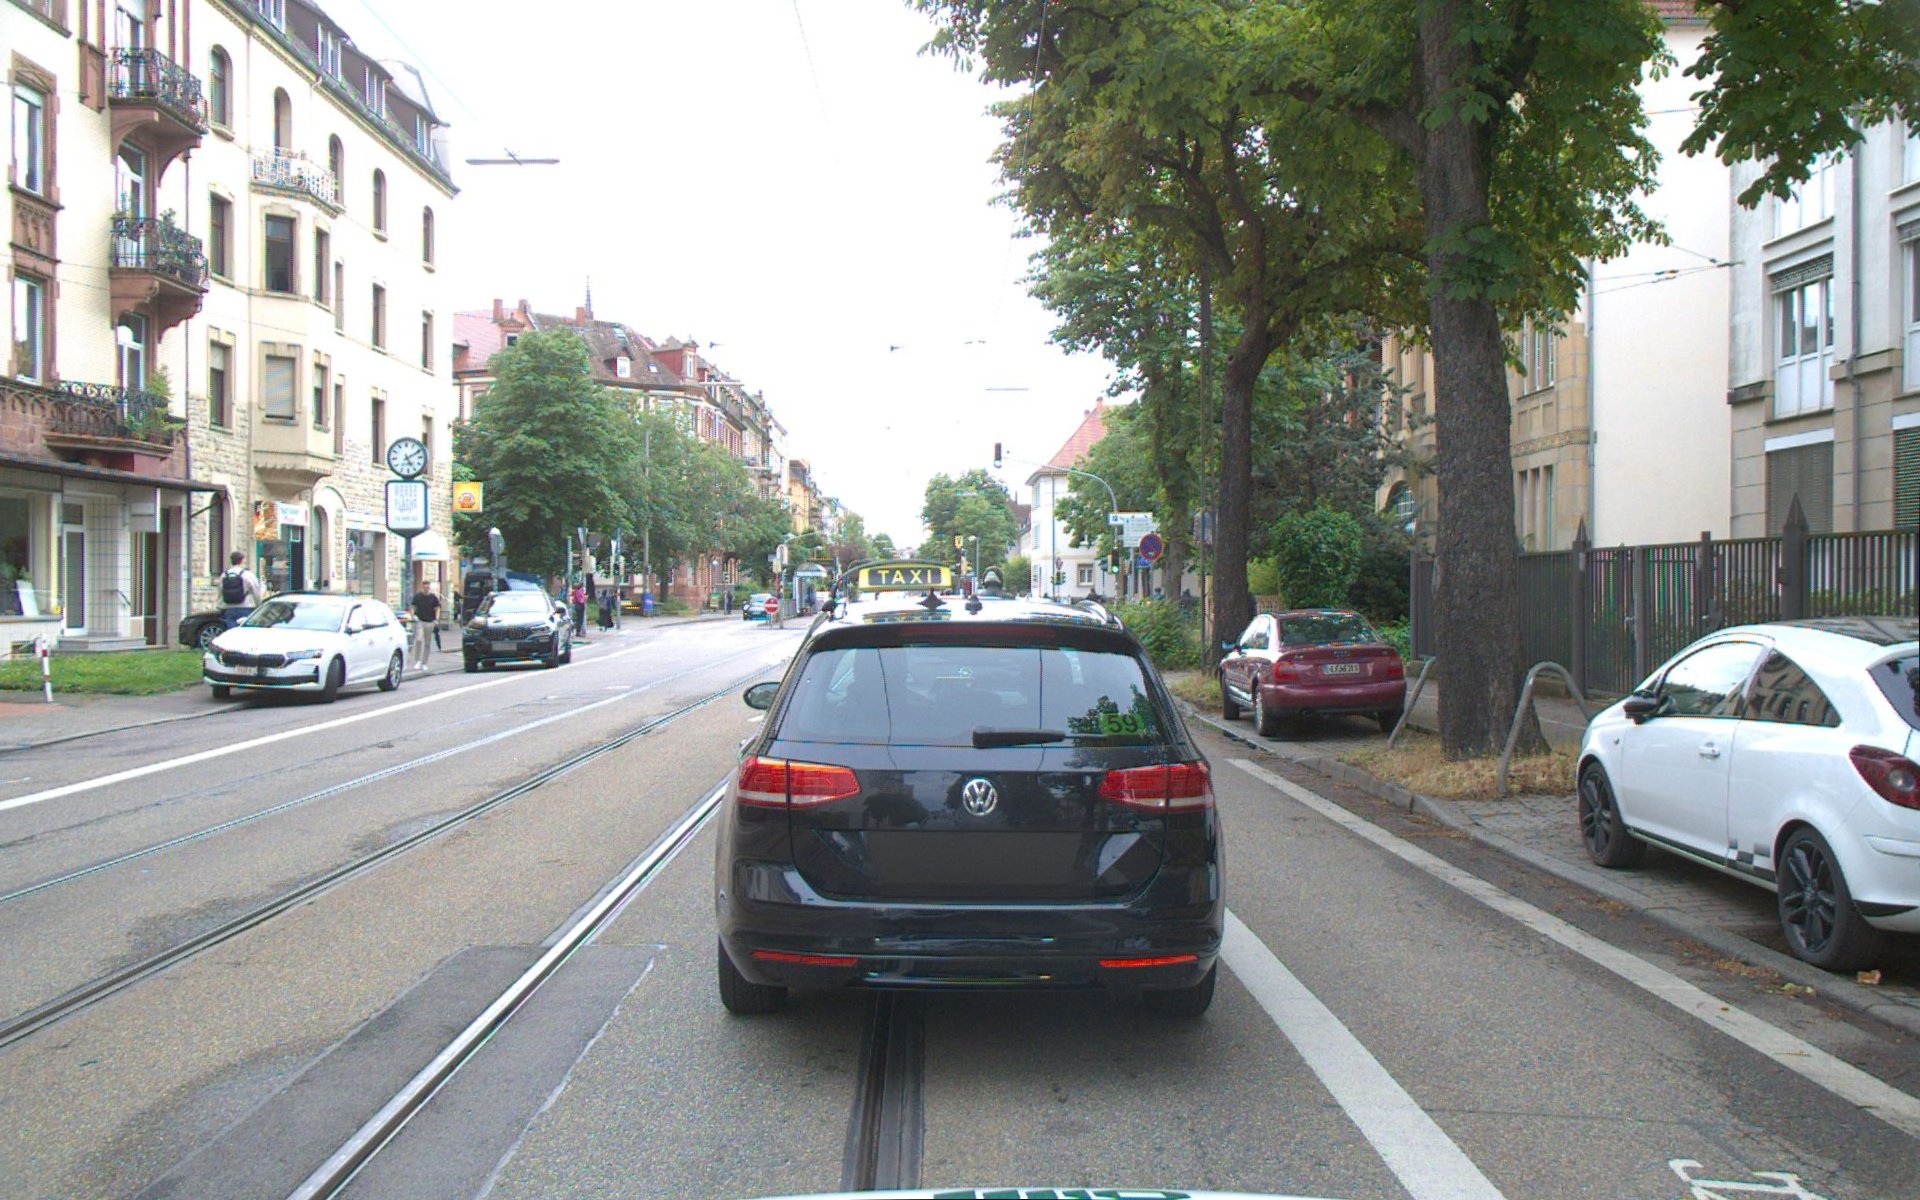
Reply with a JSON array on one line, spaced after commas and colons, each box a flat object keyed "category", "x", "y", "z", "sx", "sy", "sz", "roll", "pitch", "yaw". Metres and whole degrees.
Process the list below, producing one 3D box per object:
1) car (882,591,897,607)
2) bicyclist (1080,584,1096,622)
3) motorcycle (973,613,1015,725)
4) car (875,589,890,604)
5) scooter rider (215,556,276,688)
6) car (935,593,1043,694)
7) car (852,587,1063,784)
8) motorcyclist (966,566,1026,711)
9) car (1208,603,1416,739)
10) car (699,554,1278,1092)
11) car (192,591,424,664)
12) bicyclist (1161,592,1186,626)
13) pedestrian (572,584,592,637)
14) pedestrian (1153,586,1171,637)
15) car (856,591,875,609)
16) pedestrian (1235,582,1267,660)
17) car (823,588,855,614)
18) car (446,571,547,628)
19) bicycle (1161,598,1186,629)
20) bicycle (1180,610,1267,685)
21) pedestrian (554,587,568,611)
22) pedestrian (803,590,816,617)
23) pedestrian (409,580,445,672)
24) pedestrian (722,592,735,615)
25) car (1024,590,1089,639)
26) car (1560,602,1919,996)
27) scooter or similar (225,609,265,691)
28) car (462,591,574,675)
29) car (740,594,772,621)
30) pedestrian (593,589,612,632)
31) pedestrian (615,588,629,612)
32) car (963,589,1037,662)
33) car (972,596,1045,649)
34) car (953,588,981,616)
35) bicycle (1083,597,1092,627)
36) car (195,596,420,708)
[{"category": "car", "x": -9.439, "y": -0.090, "z": 222.919, "sx": 1.953, "sy": 2.049, "sz": 3.998, "roll": 1, "pitch": 0, "yaw": -2}, {"category": "bicyclist", "x": 5.299, "y": 0.120, "z": 68.346, "sx": 0.637, "sy": 1.596, "sz": 0.696, "roll": 0, "pitch": 0, "yaw": 6}, {"category": "motorcycle", "x": 0.400, "y": 0.803, "z": 19.952, "sx": 0.437, "sy": 1.257, "sz": 1.906, "roll": 0, "pitch": 0, "yaw": -1}, {"category": "car", "x": -8.842, "y": -0.436, "z": 188.833, "sx": 1.686, "sy": 1.651, "sz": 3.862, "roll": 0, "pitch": 0, "yaw": -1}, {"category": "scooter rider", "x": -11.236, "y": 0.344, "z": 26.035, "sx": 0.629, "sy": 2.049, "sz": 0.757, "roll": 0, "pitch": 0, "yaw": -1}, {"category": "car", "x": 0.428, "y": 0.669, "z": 27.986, "sx": 1.688, "sy": 1.573, "sz": 3.999, "roll": 0, "pitch": 0, "yaw": -1}, {"category": "car", "x": -0.044, "y": 0.676, "z": 15.280, "sx": 1.688, "sy": 1.573, "sz": 3.999, "roll": 0, "pitch": 0, "yaw": -1}, {"category": "motorcyclist", "x": 0.427, "y": 0.456, "z": 20.044, "sx": 0.688, "sy": 1.722, "sz": 0.804, "roll": 0, "pitch": 0, "yaw": -1}, {"category": "car", "x": 4.219, "y": 0.789, "z": 20.439, "sx": 1.569, "sy": 1.423, "sz": 4.226, "roll": -2, "pitch": 0, "yaw": -1}, {"category": "car", "x": 0.060, "y": 0.644, "z": 6.851, "sx": 1.688, "sy": 1.573, "sz": 3.999, "roll": 0, "pitch": 0, "yaw": -1}, {"category": "car", "x": -14.312, "y": 0.584, "z": 36.490, "sx": 4.340, "sy": 1.394, "sz": 1.878, "roll": 2, "pitch": 0, "yaw": -6}, {"category": "bicyclist", "x": 8.292, "y": 0.338, "z": 64.281, "sx": 0.689, "sy": 1.324, "sz": 0.644, "roll": 0, "pitch": 0, "yaw": -40}, {"category": "pedestrian", "x": -13.231, "y": 0.365, "z": 57.894, "sx": 0.610, "sy": 1.875, "sz": 0.609, "roll": 0, "pitch": 0, "yaw": -3}, {"category": "pedestrian", "x": 7.460, "y": 0.429, "z": 60.977, "sx": 0.503, "sy": 1.863, "sz": 0.418, "roll": -3, "pitch": 0, "yaw": 15}, {"category": "car", "x": -9.150, "y": -0.028, "z": 160.448, "sx": 1.686, "sy": 1.651, "sz": 3.862, "roll": 0, "pitch": 0, "yaw": -1}, {"category": "pedestrian", "x": 6.990, "y": 0.504, "z": 39.769, "sx": 0.619, "sy": 1.846, "sz": 0.726, "roll": 0, "pitch": 0, "yaw": -3}, {"category": "car", "x": -8.869, "y": 0.073, "z": 121.421, "sx": 1.952, "sy": 1.822, "sz": 4.000, "roll": 1, "pitch": 0, "yaw": 1}, {"category": "car", "x": -20.500, "y": -0.029, "z": 73.055, "sx": 2.168, "sy": 2.460, "sz": 5.295, "roll": 0, "pitch": 0, "yaw": -43}, {"category": "bicycle", "x": 8.287, "y": 0.523, "z": 64.261, "sx": 1.145, "sy": 1.217, "sz": 0.250, "roll": -1, "pitch": 0, "yaw": -39}, {"category": "bicycle", "x": 4.450, "y": 0.788, "z": 27.841, "sx": 0.426, "sy": 1.219, "sz": 1.891, "roll": 0, "pitch": -1, "yaw": 44}, {"category": "pedestrian", "x": -25.787, "y": -0.087, "z": 106.834, "sx": 0.577, "sy": 1.547, "sz": 0.647, "roll": 0, "pitch": 0, "yaw": 35}, {"category": "pedestrian", "x": -8.619, "y": 0.193, "z": 94.734, "sx": 0.699, "sy": 1.547, "sz": 0.590, "roll": 0, "pitch": 0, "yaw": 1}, {"category": "pedestrian", "x": -11.127, "y": 0.530, "z": 34.524, "sx": 0.658, "sy": 1.876, "sz": 0.876, "roll": -1, "pitch": 0, "yaw": -22}, {"category": "pedestrian", "x": -15.301, "y": 0.243, "z": 109.239, "sx": 0.577, "sy": 1.547, "sz": 0.647, "roll": 0, "pitch": 0, "yaw": 35}, {"category": "car", "x": 3.289, "y": 0.499, "z": 57.071, "sx": 1.953, "sy": 1.605, "sz": 3.999, "roll": 1, "pitch": 0, "yaw": -1}, {"category": "car", "x": 4.522, "y": 0.783, "z": 8.355, "sx": 1.569, "sy": 1.460, "sz": 3.776, "roll": -2, "pitch": 0, "yaw": 0}, {"category": "scooter or similar", "x": -11.223, "y": 0.770, "z": 25.985, "sx": 0.226, "sy": 1.256, "sz": 0.953, "roll": 0, "pitch": 0, "yaw": -1}, {"category": "car", "x": -9.719, "y": 0.676, "z": 36.712, "sx": 1.848, "sy": 1.640, "sz": 4.876, "roll": -3, "pitch": 0, "yaw": -9}, {"category": "car", "x": -11.573, "y": 0.404, "z": 94.130, "sx": 1.576, "sy": 1.447, "sz": 3.484, "roll": -1, "pitch": 0, "yaw": -4}, {"category": "pedestrian", "x": -14.054, "y": 0.406, "z": 65.037, "sx": 0.577, "sy": 1.692, "sz": 0.838, "roll": 0, "pitch": 0, "yaw": -4}, {"category": "pedestrian", "x": -22.075, "y": -0.020, "z": 108.015, "sx": 0.577, "sy": 1.547, "sz": 0.647, "roll": 0, "pitch": 0, "yaw": 35}, {"category": "car", "x": 0.892, "y": 0.578, "z": 38.551, "sx": 1.574, "sy": 1.583, "sz": 3.577, "roll": 1, "pitch": 0, "yaw": -1}, {"category": "car", "x": 1.446, "y": 0.610, "z": 47.884, "sx": 1.852, "sy": 1.432, "sz": 4.003, "roll": -1, "pitch": 0, "yaw": 5}, {"category": "car", "x": 0.493, "y": 0.152, "z": 121.696, "sx": 1.991, "sy": 2.049, "sz": 3.999, "roll": 1, "pitch": 0, "yaw": -1}, {"category": "bicycle", "x": 5.260, "y": 0.486, "z": 68.229, "sx": 0.291, "sy": 1.244, "sz": 1.431, "roll": 0, "pitch": 0, "yaw": 6}, {"category": "car", "x": -9.759, "y": 0.717, "z": 25.143, "sx": 1.712, "sy": 1.510, "sz": 4.607, "roll": 0, "pitch": 0, "yaw": -2}]
